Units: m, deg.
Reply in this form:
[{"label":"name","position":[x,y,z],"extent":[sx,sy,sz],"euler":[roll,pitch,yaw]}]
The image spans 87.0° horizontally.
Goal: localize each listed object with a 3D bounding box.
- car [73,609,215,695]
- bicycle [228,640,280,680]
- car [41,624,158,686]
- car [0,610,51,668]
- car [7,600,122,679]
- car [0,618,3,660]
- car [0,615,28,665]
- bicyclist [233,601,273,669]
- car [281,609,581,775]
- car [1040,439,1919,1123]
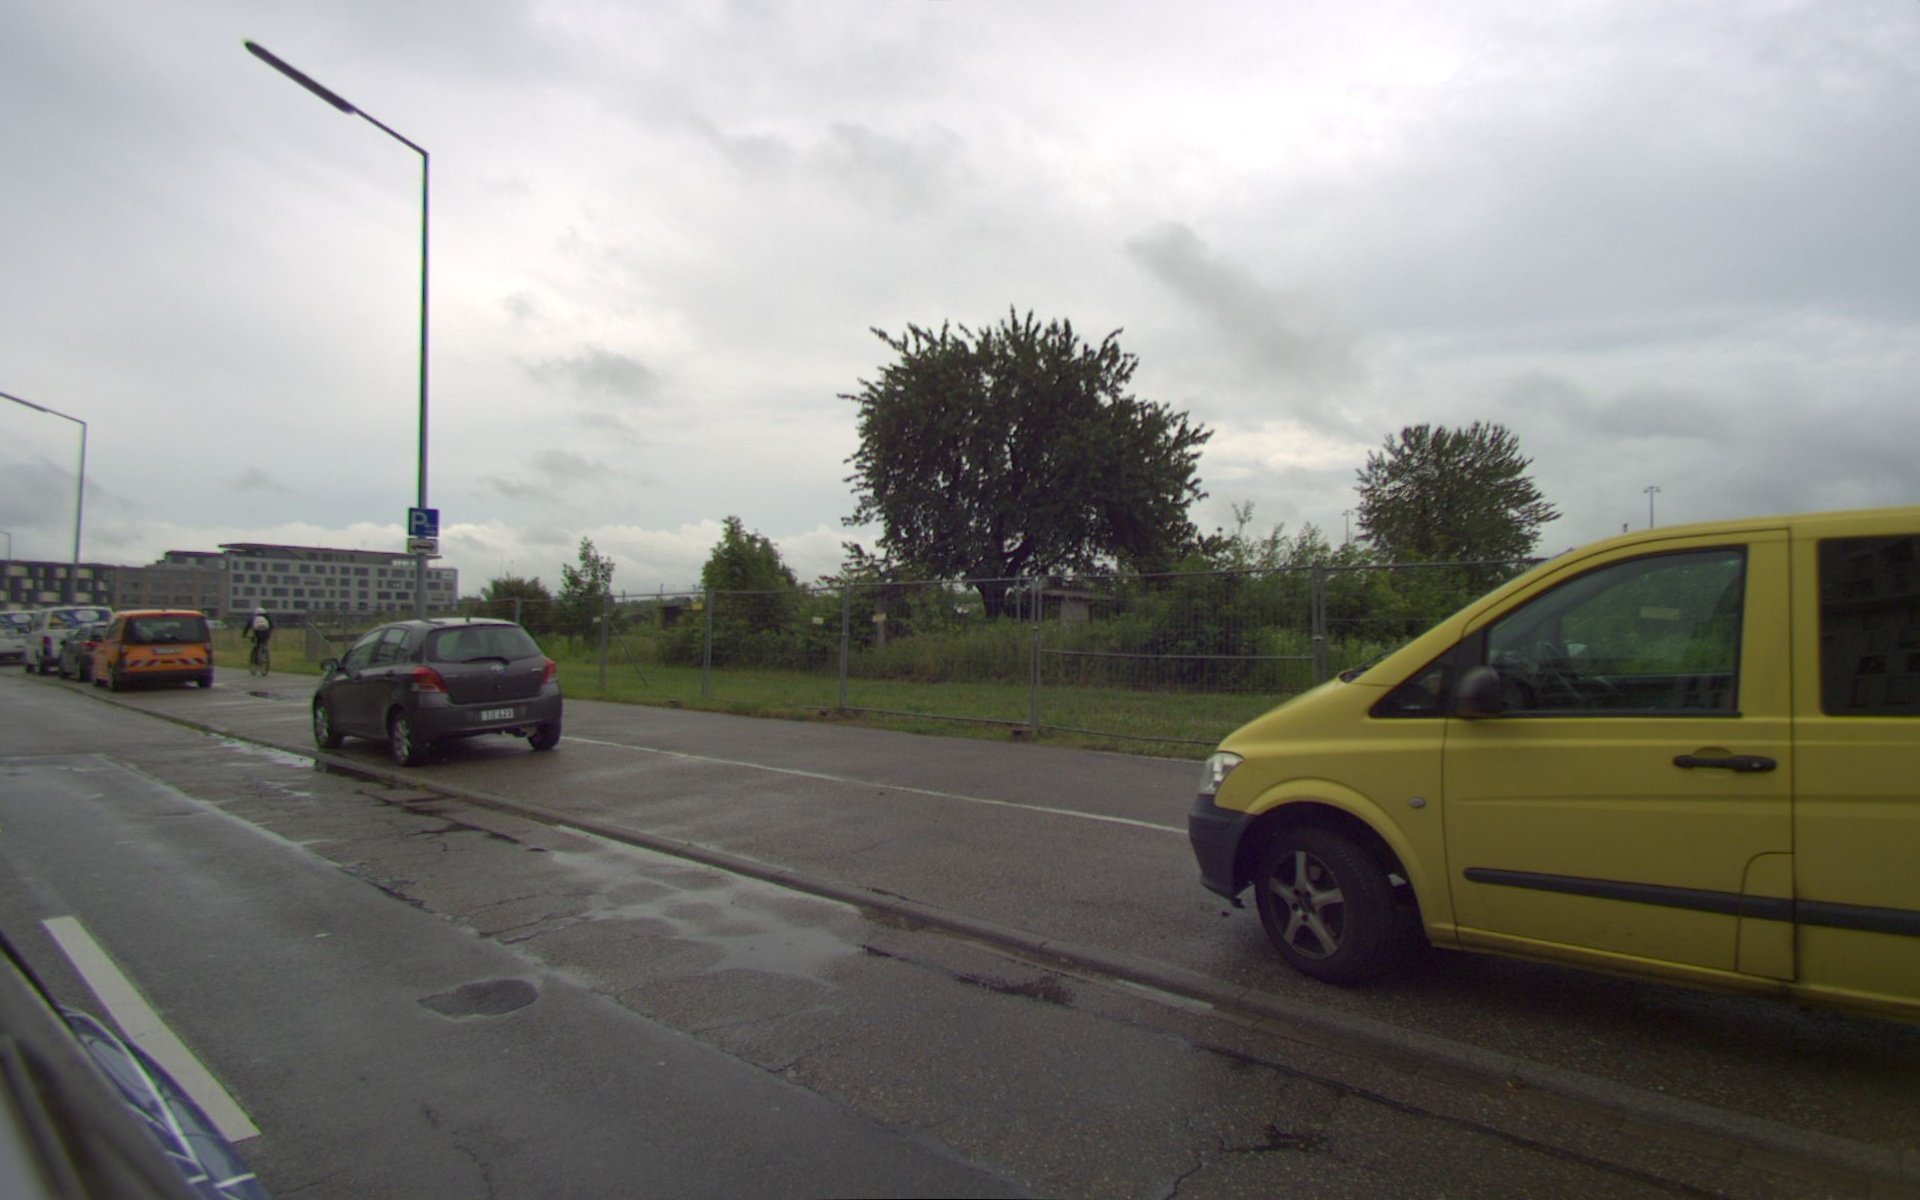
[{"label":"car","position":[-18.852,1.143,23.316],"extent":[4.331,1.781,1.919],"euler":[-2,-2,43]},{"label":"bicycle","position":[-19.661,1.651,28.164],"extent":[2.143,1.050,0.709],"euler":[-2,-2,41]},{"label":"car","position":[-23.273,1.425,27.313],"extent":[4.889,1.513,1.666],"euler":[-1,-2,41]},{"label":"car","position":[-36.132,1.445,38.339],"extent":[5.272,2.074,1.939],"euler":[-2,-2,42]},{"label":"car","position":[-27.933,1.214,31.512],"extent":[5.554,2.253,1.922],"euler":[-2,-2,41]},{"label":"car","position":[-46.120,1.829,47.011],"extent":[4.992,1.916,1.935],"euler":[-2,-2,41]},{"label":"car","position":[-40.751,1.656,42.463],"extent":[5.255,2.029,1.875],"euler":[-2,-3,42]},{"label":"bicyclist","position":[-19.722,0.976,28.228],"extent":[1.008,1.843,0.691],"euler":[-2,-2,41]},{"label":"car","position":[-6.343,0.959,11.944],"extent":[4.031,1.573,1.785],"euler":[-2,0,41]},{"label":"car","position":[3.336,0.516,3.744],"extent":[6.061,1.971,1.996],"euler":[-1,0,41]}]
